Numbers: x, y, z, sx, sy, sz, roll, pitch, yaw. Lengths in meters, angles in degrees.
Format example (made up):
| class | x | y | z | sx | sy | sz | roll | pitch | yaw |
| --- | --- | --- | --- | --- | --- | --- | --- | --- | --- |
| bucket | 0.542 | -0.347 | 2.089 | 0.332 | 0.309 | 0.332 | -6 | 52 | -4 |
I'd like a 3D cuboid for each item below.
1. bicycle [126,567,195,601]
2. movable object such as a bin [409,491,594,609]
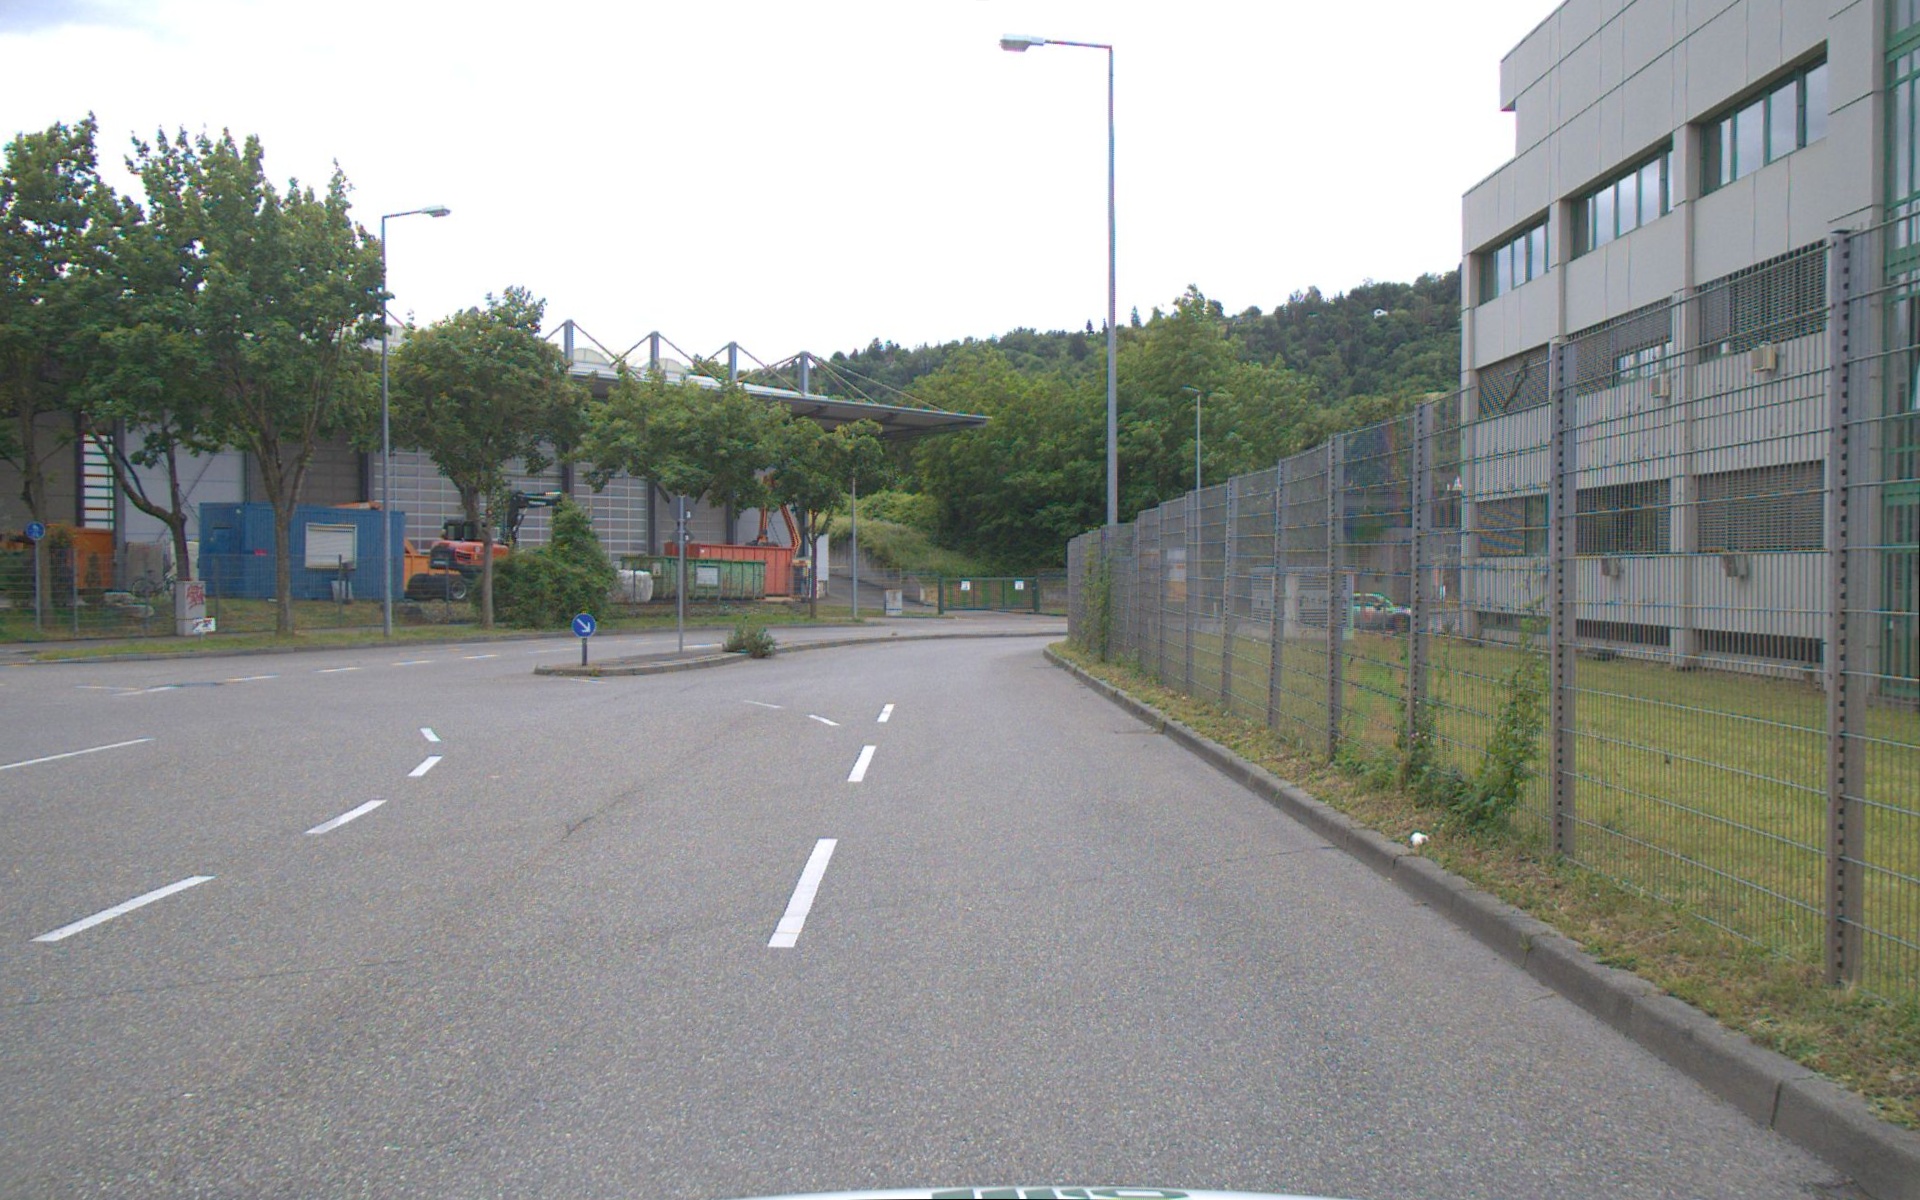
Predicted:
| class | x | y | z | sx | sy | sz | roll | pitch | yaw |
| --- | --- | --- | --- | --- | --- | --- | --- | --- | --- |
| bicycle | -23.732 | -0.481 | 49.128 | 0.649 | 0.991 | 1.756 | 0 | 1 | 32 |
| movable object such as a bin | -17.064 | -1.803 | 61.954 | 2.677 | 4.162 | 6.534 | 0 | 1 | 33 |
